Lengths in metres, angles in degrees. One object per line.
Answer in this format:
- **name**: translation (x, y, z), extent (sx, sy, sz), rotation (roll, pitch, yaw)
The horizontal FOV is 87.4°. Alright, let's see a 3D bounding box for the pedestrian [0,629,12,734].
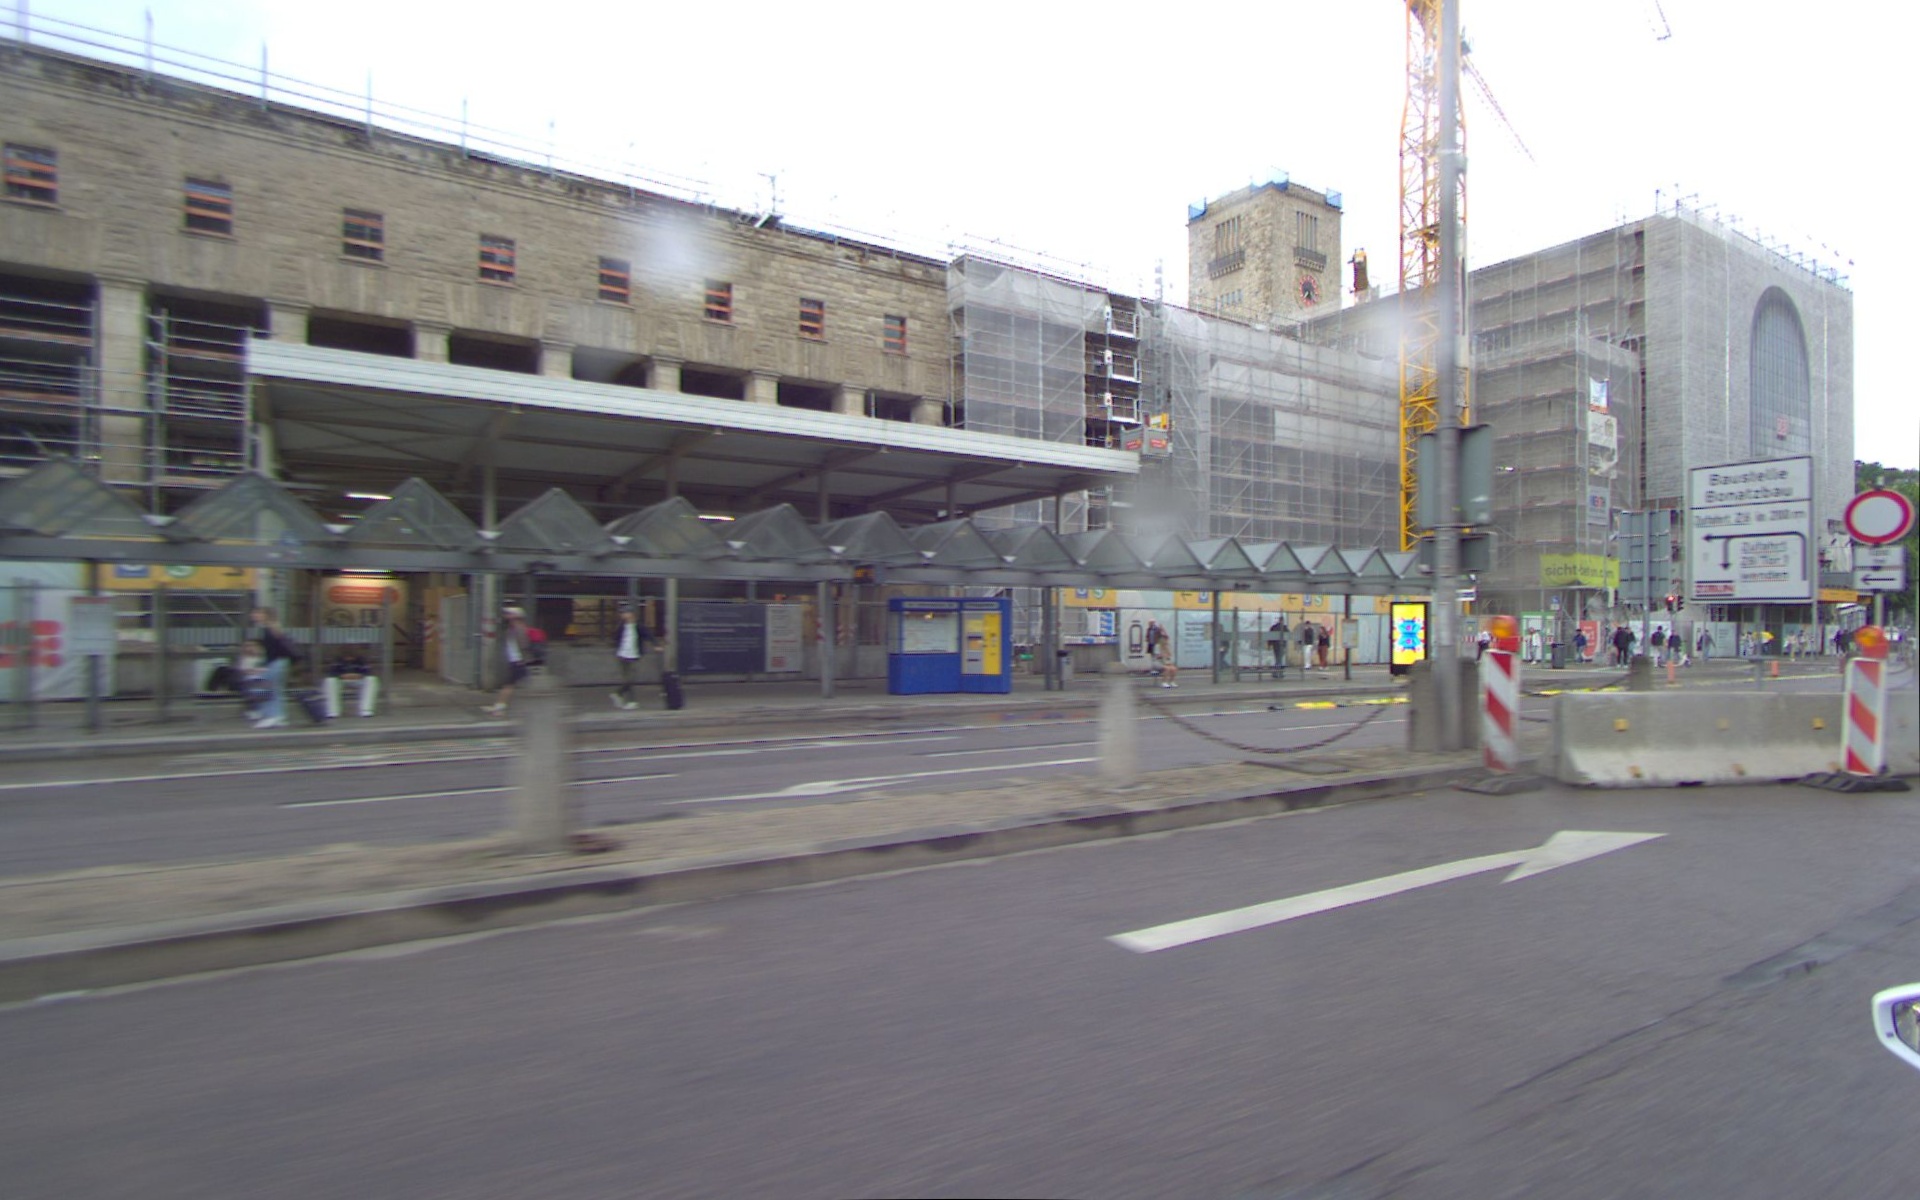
- **pedestrian**: translation (-13.789, 1.137, 13.870), extent (0.822, 1.451, 1.048), rotation (1, -1, -34)

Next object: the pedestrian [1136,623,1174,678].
- **pedestrian**: translation (6.219, 1.601, 32.048), extent (0.828, 1.722, 0.872), rotation (1, -1, -34)

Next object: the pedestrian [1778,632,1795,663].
- **pedestrian**: translation (46.177, 2.664, 56.094), extent (0.674, 1.708, 0.834), rotation (0, -1, 43)

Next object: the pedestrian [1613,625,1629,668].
- **pedestrian**: translation (28.901, 2.013, 43.892), extent (0.501, 1.865, 0.338), rotation (1, -1, -18)

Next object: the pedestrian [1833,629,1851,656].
- **pedestrian**: translation (62.458, 2.992, 71.131), extent (0.764, 1.865, 0.774), rotation (1, -1, -34)

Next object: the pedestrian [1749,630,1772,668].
- **pedestrian**: translation (40.519, 2.456, 50.851), extent (0.865, 1.865, 0.834), rotation (0, -1, 43)

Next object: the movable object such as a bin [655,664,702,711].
- **movable object such as a bin**: translation (-4.983, 1.544, 17.779), extent (0.621, 0.800, 0.512), rotation (0, -2, 12)

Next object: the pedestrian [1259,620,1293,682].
- **pedestrian**: translation (9.820, 1.575, 31.221), extent (0.689, 1.865, 0.745), rotation (1, -1, -13)

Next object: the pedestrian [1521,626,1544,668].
- **pedestrian**: translation (25.879, 2.130, 45.418), extent (0.605, 1.865, 0.718), rotation (1, -1, -30)

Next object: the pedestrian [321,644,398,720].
- **pedestrian**: translation (-9.941, 1.325, 16.620), extent (1.043, 1.173, 0.944), rotation (1, -1, -33)

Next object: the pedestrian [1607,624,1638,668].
- **pedestrian**: translation (28.539, 1.965, 43.305), extent (0.861, 1.865, 0.704), rotation (1, -1, -5)

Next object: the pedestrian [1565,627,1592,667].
- **pedestrian**: translation (29.530, 2.256, 47.983), extent (0.858, 1.865, 0.799), rotation (1, -1, -30)

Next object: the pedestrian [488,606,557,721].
- **pedestrian**: translation (-7.076, 1.008, 16.265), extent (0.767, 1.814, 0.673), rotation (1, -1, 6)

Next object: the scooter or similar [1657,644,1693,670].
- **scooter or similar**: translation (30.675, 2.451, 43.093), extent (1.215, 1.080, 0.460), rotation (1, -1, 1)

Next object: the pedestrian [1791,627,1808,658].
- **pedestrian**: translation (52.665, 2.653, 63.005), extent (0.762, 1.865, 0.830), rotation (0, -1, 43)

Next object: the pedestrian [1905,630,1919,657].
- **pedestrian**: translation (66.933, 3.047, 70.105), extent (1.023, 1.865, 0.984), rotation (1, -1, -13)

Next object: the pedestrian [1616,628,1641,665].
- **pedestrian**: translation (35.025, 2.430, 52.655), extent (0.840, 1.865, 0.799), rotation (1, -1, -30)

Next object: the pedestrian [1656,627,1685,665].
- **pedestrian**: translation (35.689, 2.299, 50.431), extent (1.045, 1.865, 0.835), rotation (1, -1, -30)

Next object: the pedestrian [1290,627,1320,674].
- **pedestrian**: translation (12.898, 1.880, 37.580), extent (0.695, 1.693, 0.796), rotation (1, -1, -38)

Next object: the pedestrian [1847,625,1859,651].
- **pedestrian**: translation (66.550, 2.839, 74.850), extent (0.667, 1.865, 0.716), rotation (0, -1, 43)

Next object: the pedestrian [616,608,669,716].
- **pedestrian**: translation (-5.628, 1.090, 17.822), extent (0.664, 1.872, 0.558), rotation (1, -1, 13)

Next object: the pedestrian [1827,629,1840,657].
- **pedestrian**: translation (57.812, 2.837, 66.489), extent (0.764, 1.865, 0.532), rotation (1, -1, -37)

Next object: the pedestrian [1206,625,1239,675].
- **pedestrian**: translation (8.777, 1.666, 33.574), extent (0.694, 1.629, 0.797), rotation (1, -1, -34)

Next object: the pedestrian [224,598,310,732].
- **pedestrian**: translation (-9.765, 0.896, 14.187), extent (0.849, 1.814, 0.772), rotation (1, -1, -26)

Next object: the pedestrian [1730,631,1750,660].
- **pedestrian**: translation (44.941, 2.610, 57.856), extent (0.829, 1.635, 0.673), rotation (1, -1, -31)

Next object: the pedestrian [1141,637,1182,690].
- **pedestrian**: translation (5.277, 1.661, 26.319), extent (0.797, 1.343, 0.695), rotation (1, -1, -35)

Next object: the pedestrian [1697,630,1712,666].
- **pedestrian**: translation (38.874, 2.499, 52.443), extent (0.564, 1.865, 0.700), rotation (0, -1, 43)

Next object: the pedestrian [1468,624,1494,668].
- **pedestrian**: translation (22.318, 1.953, 43.036), extent (0.648, 1.865, 0.739), rotation (1, -1, -30)

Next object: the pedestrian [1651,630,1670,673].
- **pedestrian**: translation (30.936, 2.248, 44.340), extent (0.698, 1.865, 0.503), rotation (1, -1, -39)

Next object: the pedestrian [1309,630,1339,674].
- **pedestrian**: translation (13.359, 1.905, 36.890), extent (0.695, 1.568, 0.796), rotation (1, -1, -38)
